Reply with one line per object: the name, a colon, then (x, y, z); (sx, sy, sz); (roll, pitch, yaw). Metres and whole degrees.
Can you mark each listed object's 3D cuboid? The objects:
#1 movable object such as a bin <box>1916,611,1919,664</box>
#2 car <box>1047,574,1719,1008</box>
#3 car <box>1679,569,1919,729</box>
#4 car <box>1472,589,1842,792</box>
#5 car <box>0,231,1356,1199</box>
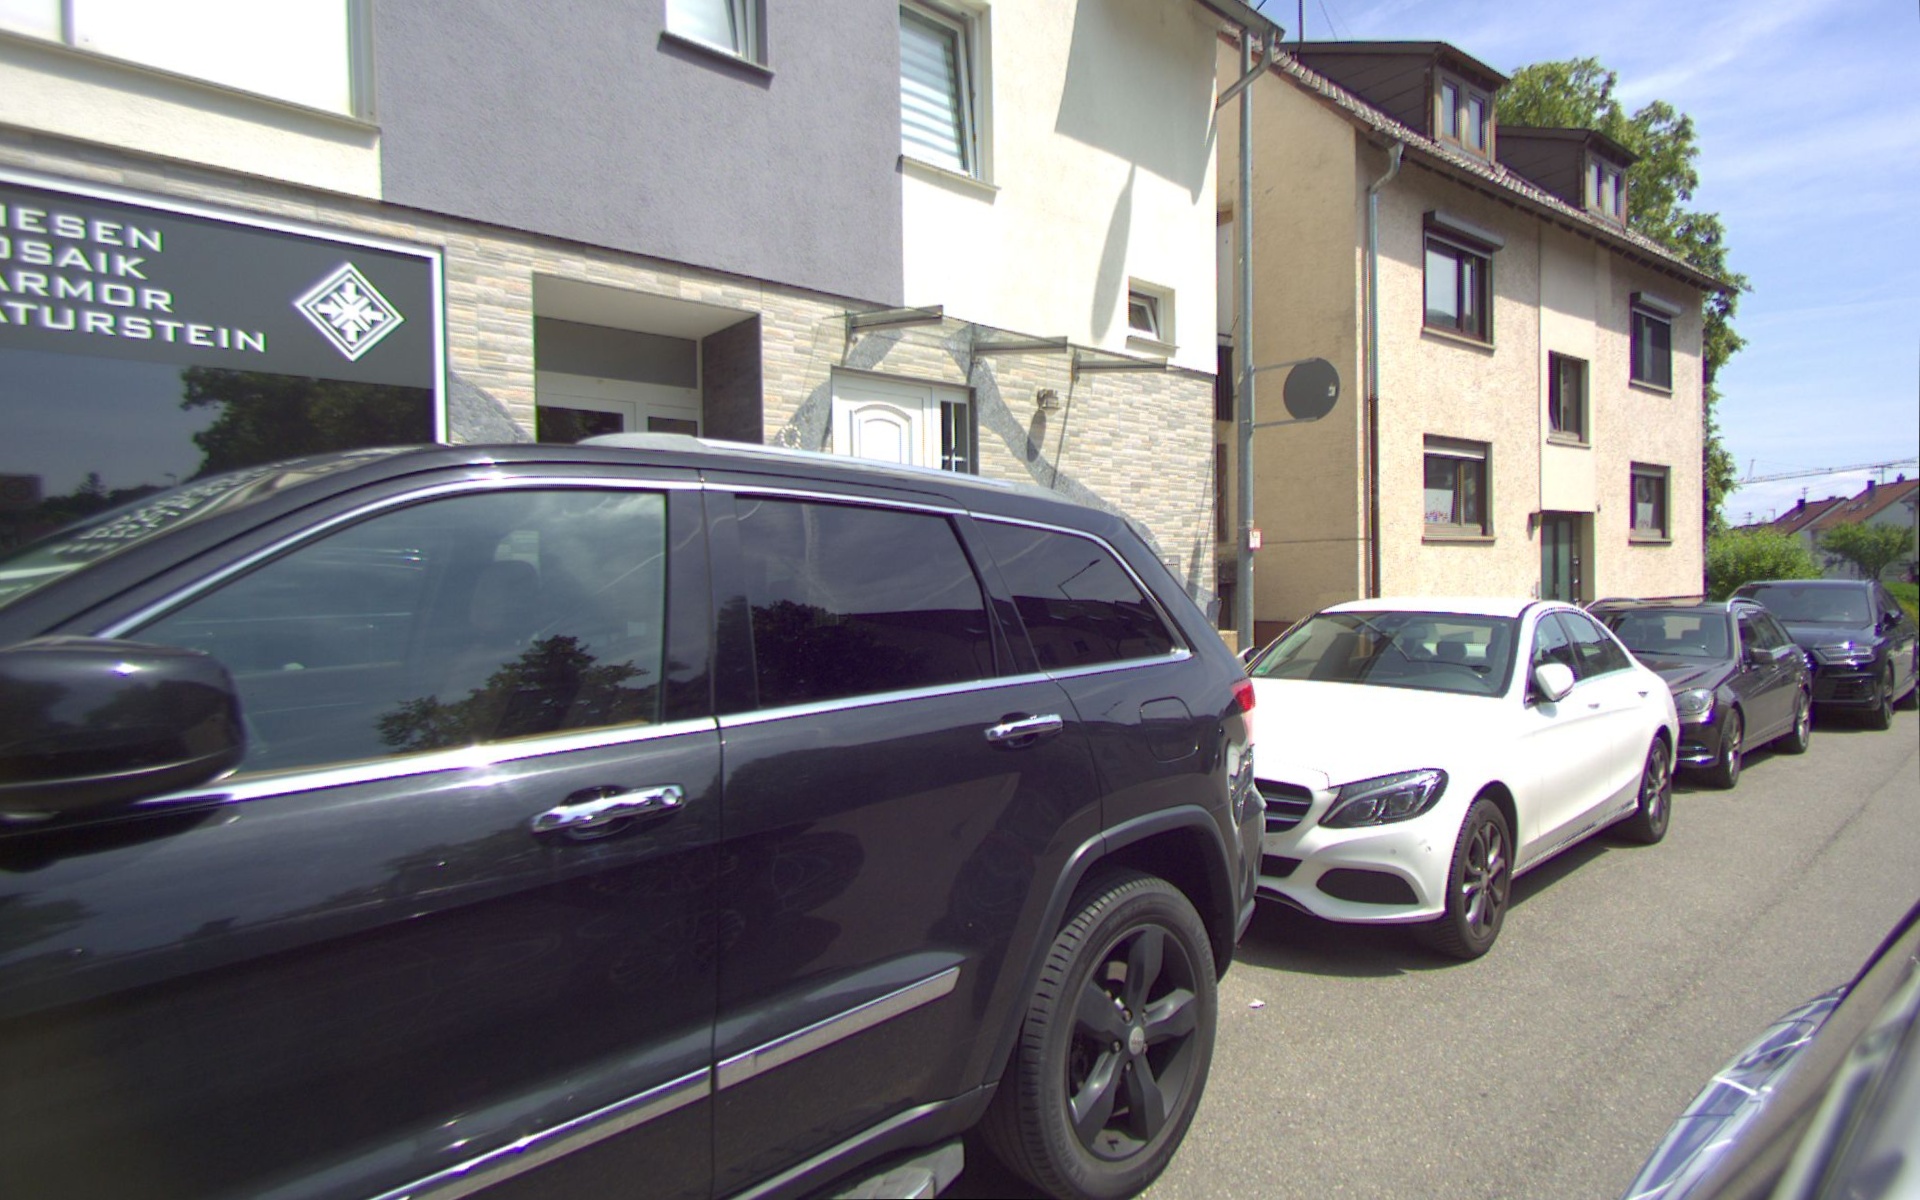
movable object such as a bin: (18.579, 0.720, 19.178); (0.491, 1.006, 0.527); (0, -1, -27)
car: (2.696, 0.633, 5.701); (4.638, 1.473, 1.790); (0, 1, -44)
car: (10.905, 0.490, 12.870); (4.575, 1.691, 1.846); (-1, 0, -41)
car: (6.547, 0.639, 9.320); (4.281, 1.438, 1.792); (0, 1, -41)
car: (-1.190, 0.501, 2.064); (4.638, 1.737, 1.955); (0, 1, -44)
